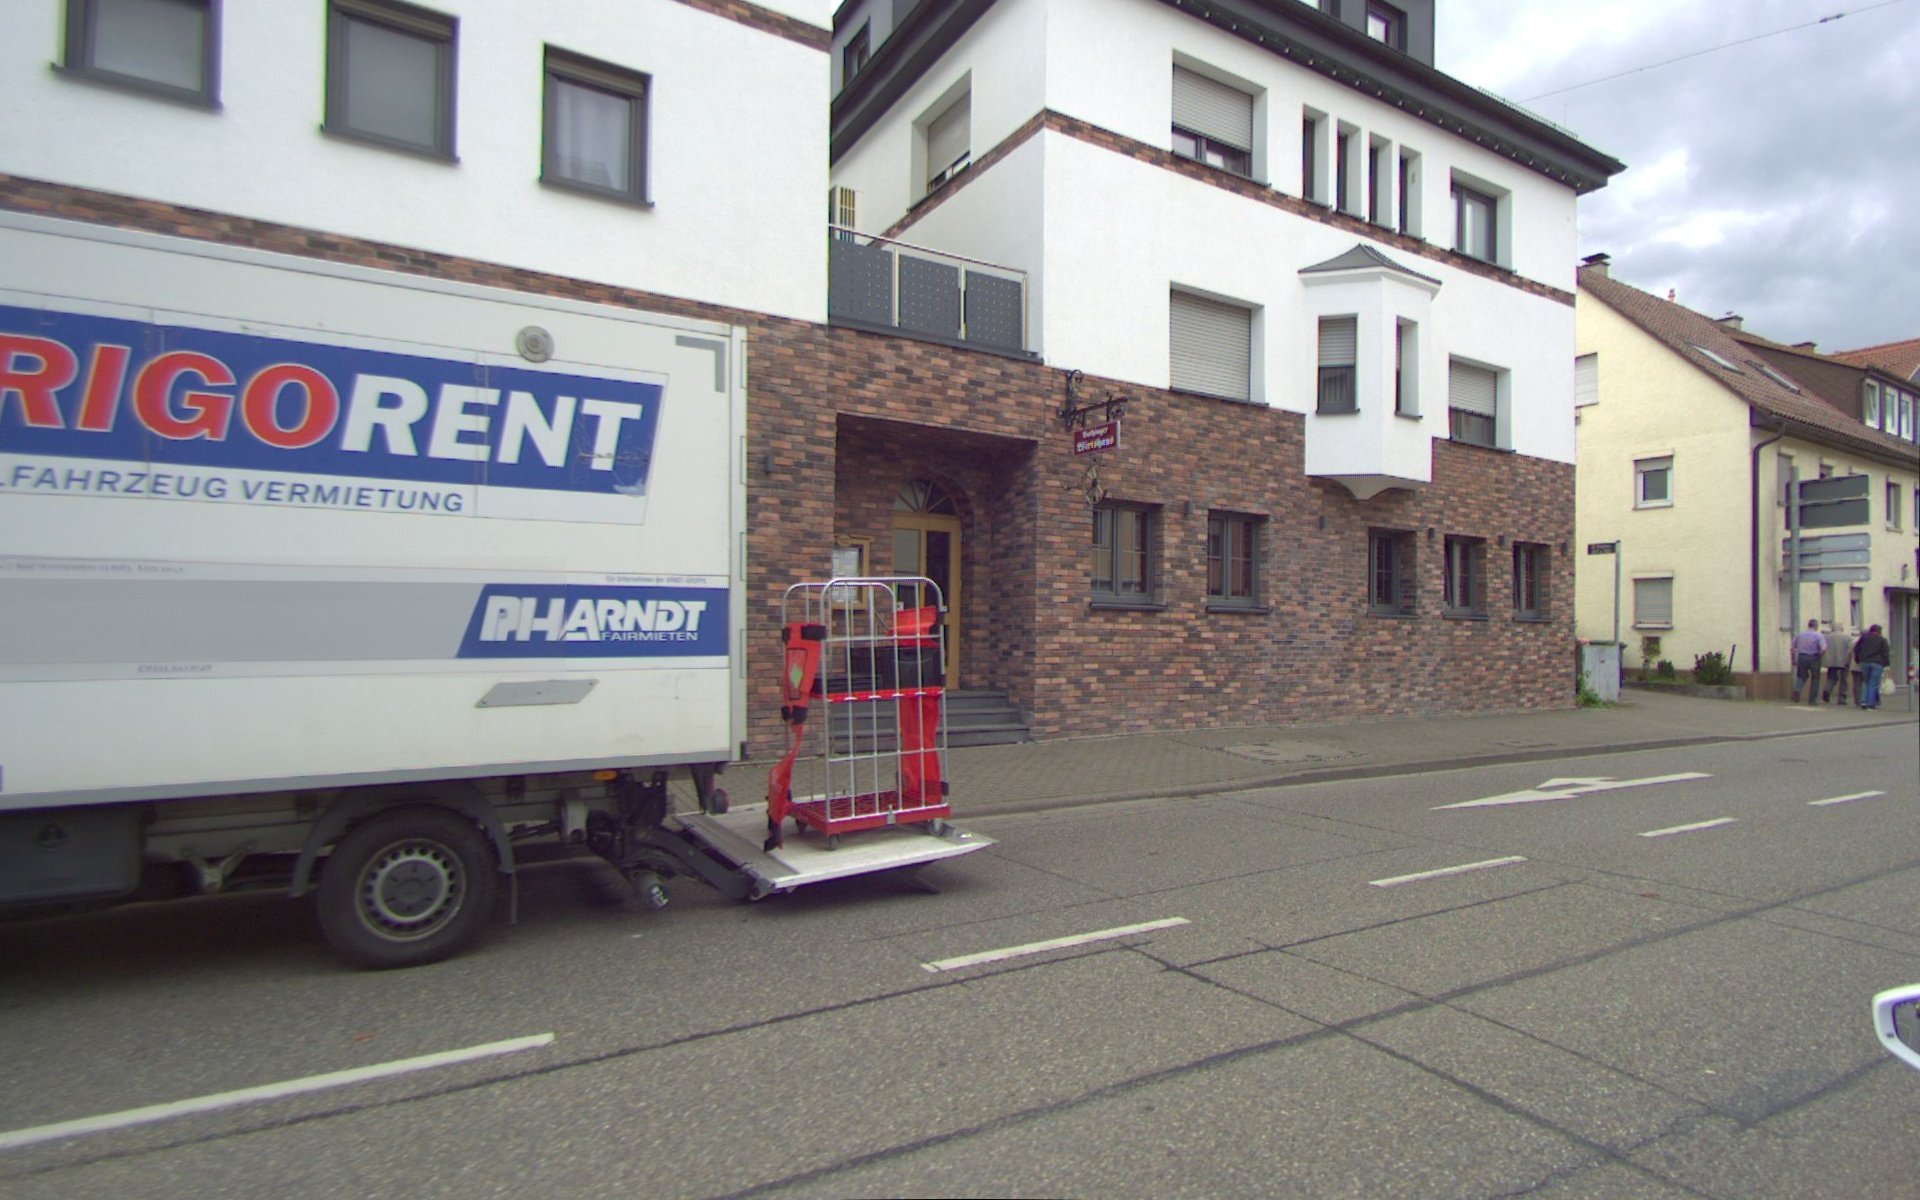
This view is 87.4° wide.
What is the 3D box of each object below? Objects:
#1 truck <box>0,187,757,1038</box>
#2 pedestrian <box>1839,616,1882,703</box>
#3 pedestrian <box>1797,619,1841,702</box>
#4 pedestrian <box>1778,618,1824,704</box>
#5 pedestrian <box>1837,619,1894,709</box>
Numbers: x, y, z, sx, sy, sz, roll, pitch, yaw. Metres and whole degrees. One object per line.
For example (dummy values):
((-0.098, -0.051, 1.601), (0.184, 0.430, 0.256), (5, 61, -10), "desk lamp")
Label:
((-4.177, 0.032, 4.511), (5.895, 3.010, 2.450), (2, 0, -30), "truck")
((18.702, 1.225, 20.869), (0.640, 1.760, 0.494), (1, -1, -30), "pedestrian")
((18.458, 1.291, 21.581), (0.640, 1.760, 0.551), (1, -1, -30), "pedestrian")
((17.463, 1.257, 20.854), (0.640, 1.760, 0.551), (1, -1, -30), "pedestrian")
((18.246, 1.278, 20.247), (0.709, 1.760, 0.674), (1, -1, -30), "pedestrian")
